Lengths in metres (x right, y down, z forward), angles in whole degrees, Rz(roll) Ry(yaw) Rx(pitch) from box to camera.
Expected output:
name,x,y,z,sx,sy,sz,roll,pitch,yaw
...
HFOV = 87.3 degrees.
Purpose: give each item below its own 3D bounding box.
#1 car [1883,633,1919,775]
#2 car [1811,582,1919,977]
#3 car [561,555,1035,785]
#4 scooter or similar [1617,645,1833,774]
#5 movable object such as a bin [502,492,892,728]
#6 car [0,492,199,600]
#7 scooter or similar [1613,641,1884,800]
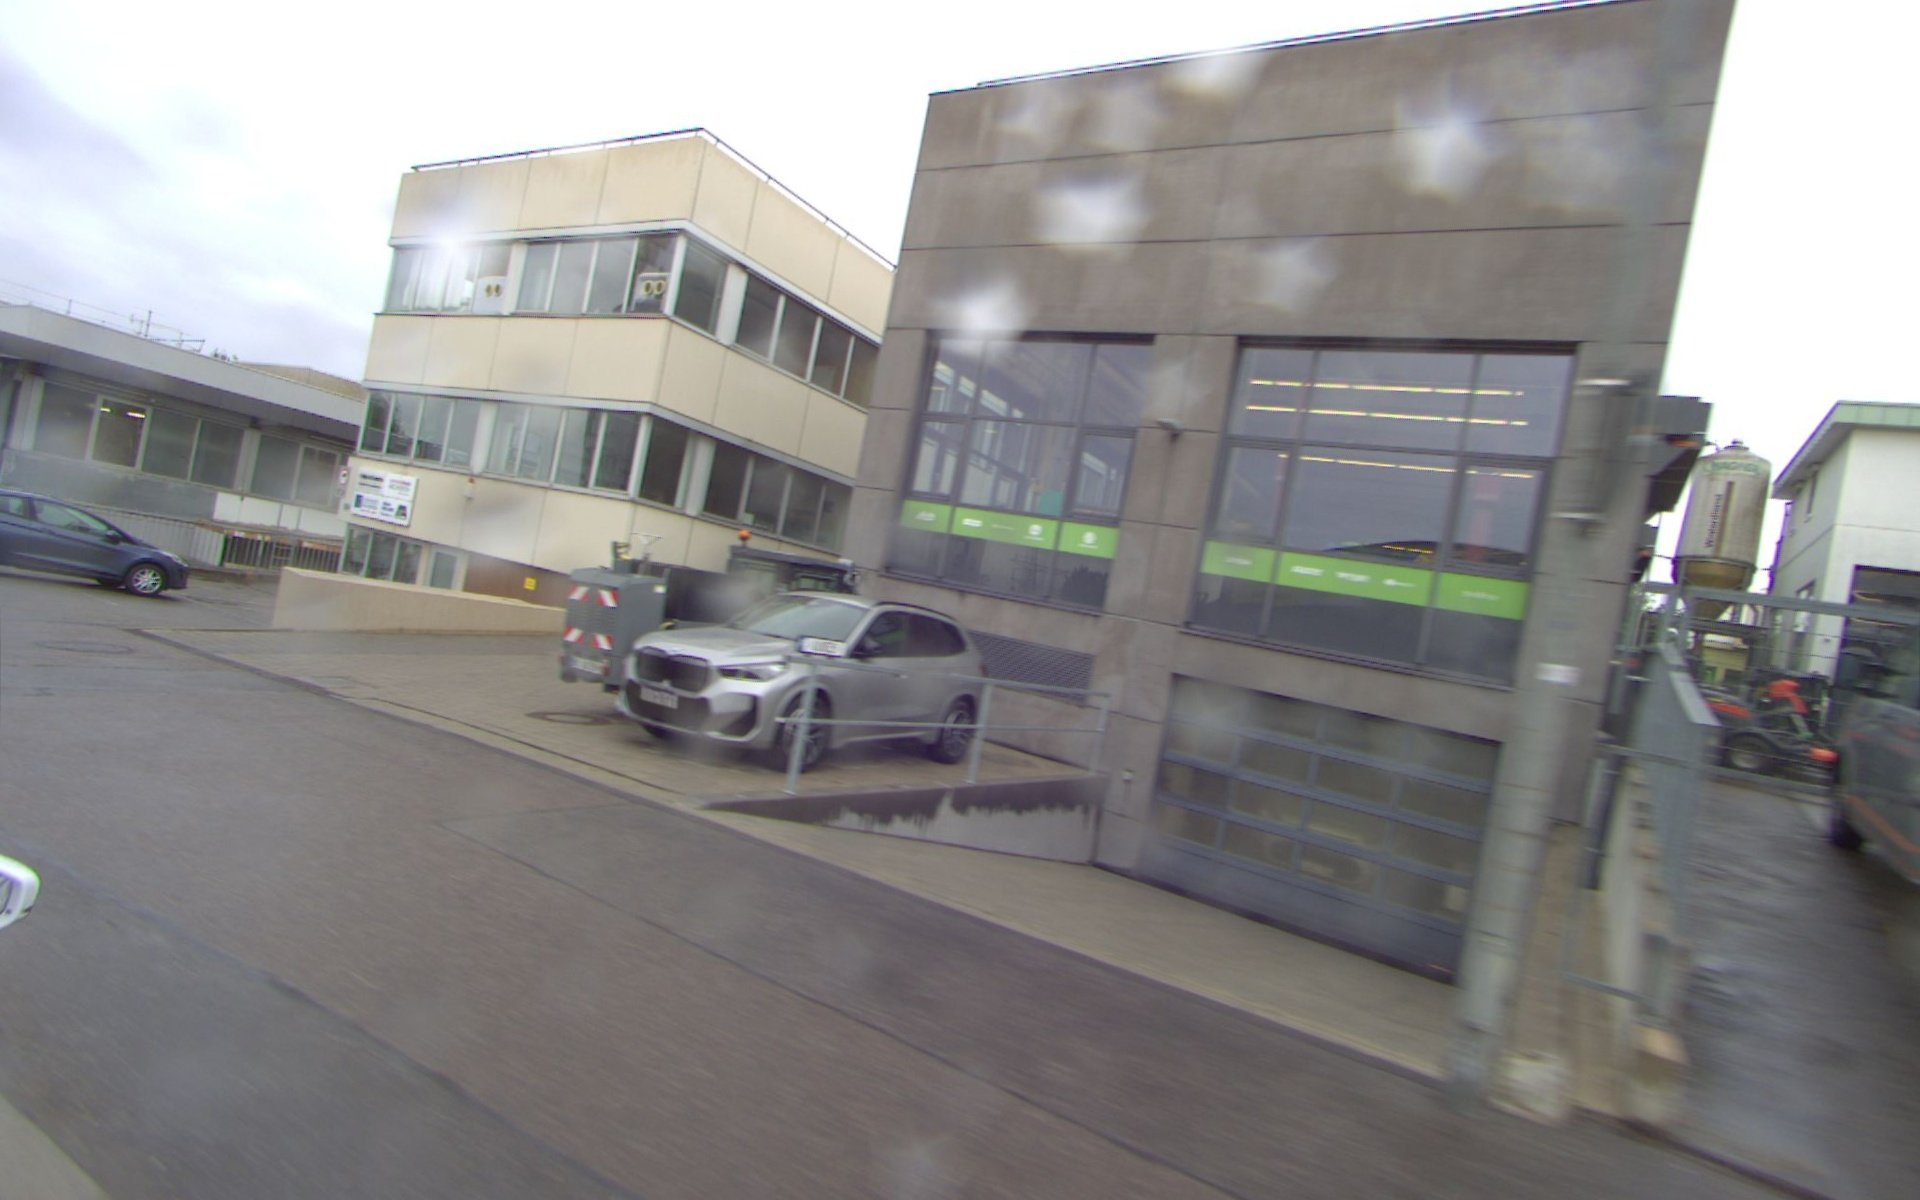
name,x,y,z,sx,sy,sz,roll,pitch,yaw
car,17.989,1.896,17.130,1.967,2.651,5.402,10,-1,31
car,6.662,1.030,5.574,2.186,2.043,5.289,7,5,34
car,-1.288,0.766,10.484,1.893,1.632,5.102,8,-1,31
scooter or similar,8.840,1.230,11.748,1.816,1.170,1.003,7,2,35
movable object such as a bin,-2.735,0.260,11.506,1.452,2.135,4.262,7,-1,32
car,-16.160,-1.042,17.713,1.790,1.398,3.907,6,-4,31
scooter or similar,8.240,1.212,10.682,2.031,1.241,1.064,9,3,35
